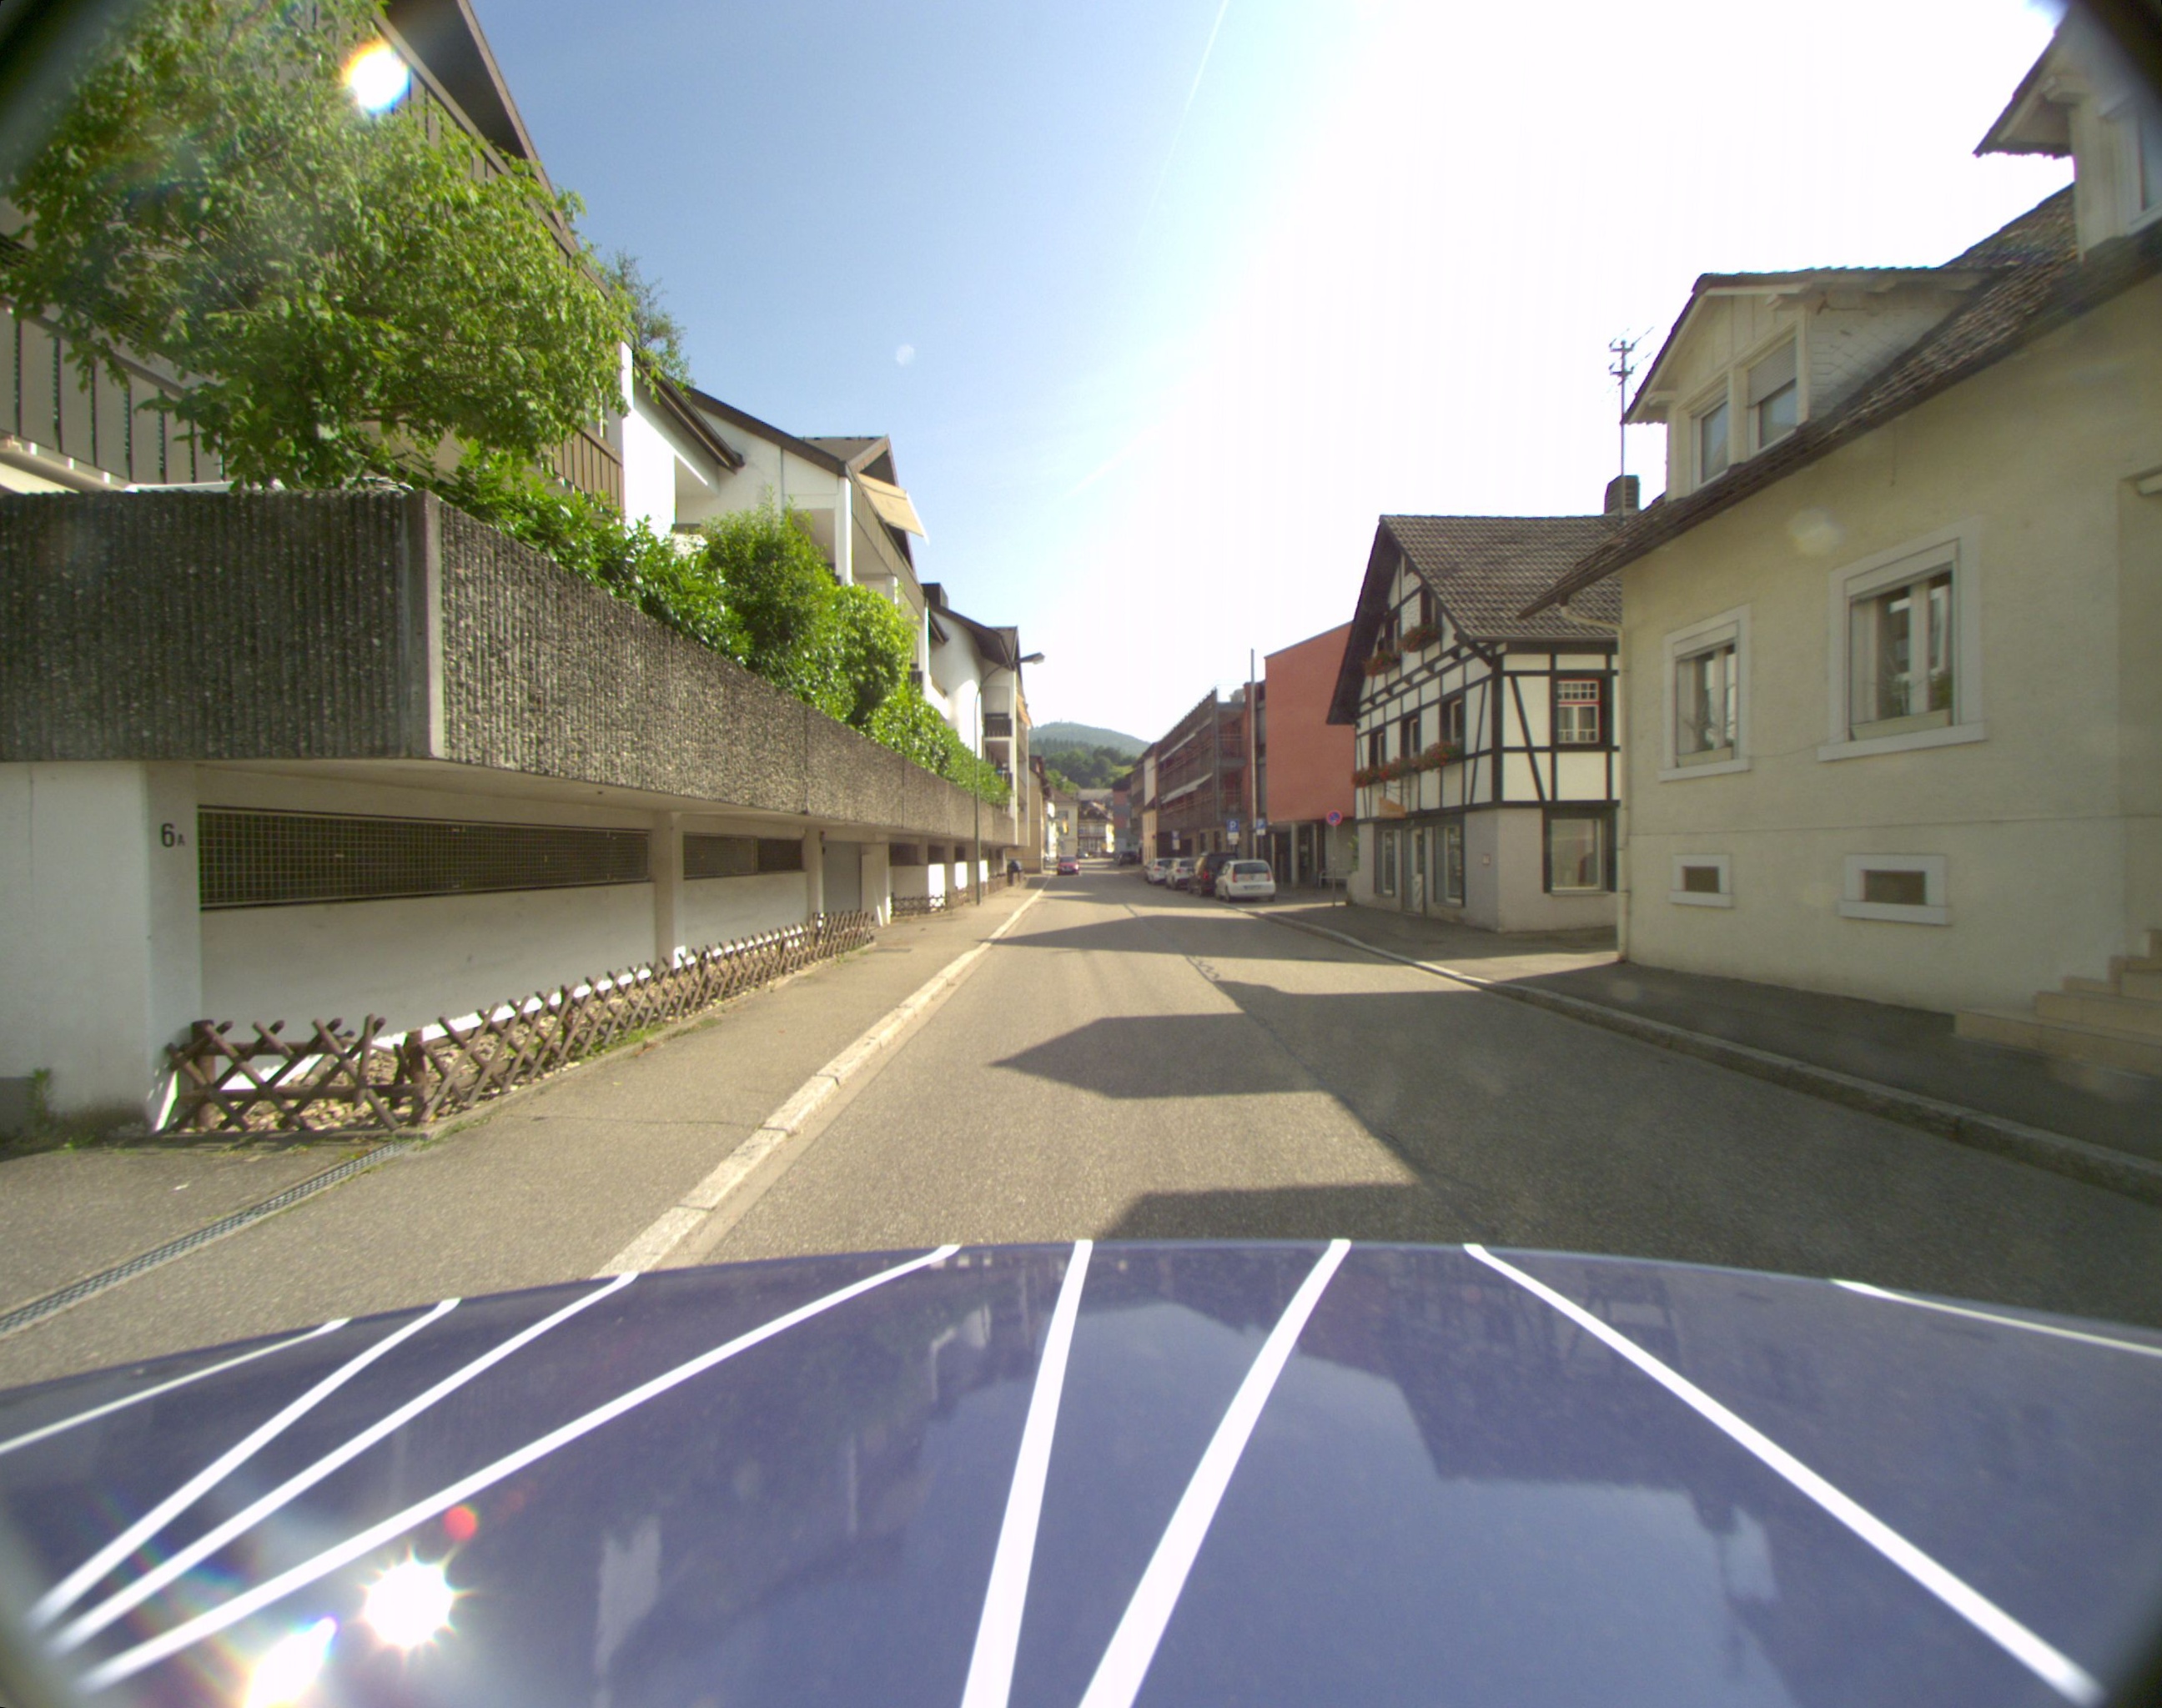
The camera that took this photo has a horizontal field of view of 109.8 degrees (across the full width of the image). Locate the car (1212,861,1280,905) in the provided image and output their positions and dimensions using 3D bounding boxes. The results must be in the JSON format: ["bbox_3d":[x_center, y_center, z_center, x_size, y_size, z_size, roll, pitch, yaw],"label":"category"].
[{"bbox_3d":[5.879,0.995,27.413,1.670,1.423,3.569,-2,-1,0],"label":"car"}]

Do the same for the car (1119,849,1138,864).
[{"bbox_3d":[5.410,0.256,86.666,1.787,1.566,3.888,-3,0,-1],"label":"car"}]

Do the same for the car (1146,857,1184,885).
[{"bbox_3d":[4.947,0.995,44.980,1.678,1.546,3.764,-1,0,-2],"label":"car"}]

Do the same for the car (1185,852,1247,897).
[{"bbox_3d":[5.679,0.809,32.440,1.725,1.785,4.268,-1,0,-3],"label":"car"}]

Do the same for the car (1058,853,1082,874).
[{"bbox_3d":[-0.931,0.732,61.906,1.822,1.652,3.999,0,0,-2],"label":"car"}]

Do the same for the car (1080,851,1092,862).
[{"bbox_3d":[1.009,0.401,143.245,1.999,2.002,3.998,-2,1,-3],"label":"car"}]

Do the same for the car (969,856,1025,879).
[{"bbox_3d":[-5.988,0.971,54.653,3.838,1.470,1.700,-2,0,-3],"label":"car"}]

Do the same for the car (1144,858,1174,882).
[{"bbox_3d":[5.095,1.002,49.809,1.553,1.408,3.593,-2,1,0],"label":"car"}]

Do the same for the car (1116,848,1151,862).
[{"bbox_3d":[6.505,0.183,94.884,4.000,1.673,1.834,0,-1,-9],"label":"car"}]

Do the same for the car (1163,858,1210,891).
[{"bbox_3d":[5.277,0.999,38.437,1.679,1.580,3.948,-1,0,-2],"label":"car"}]
